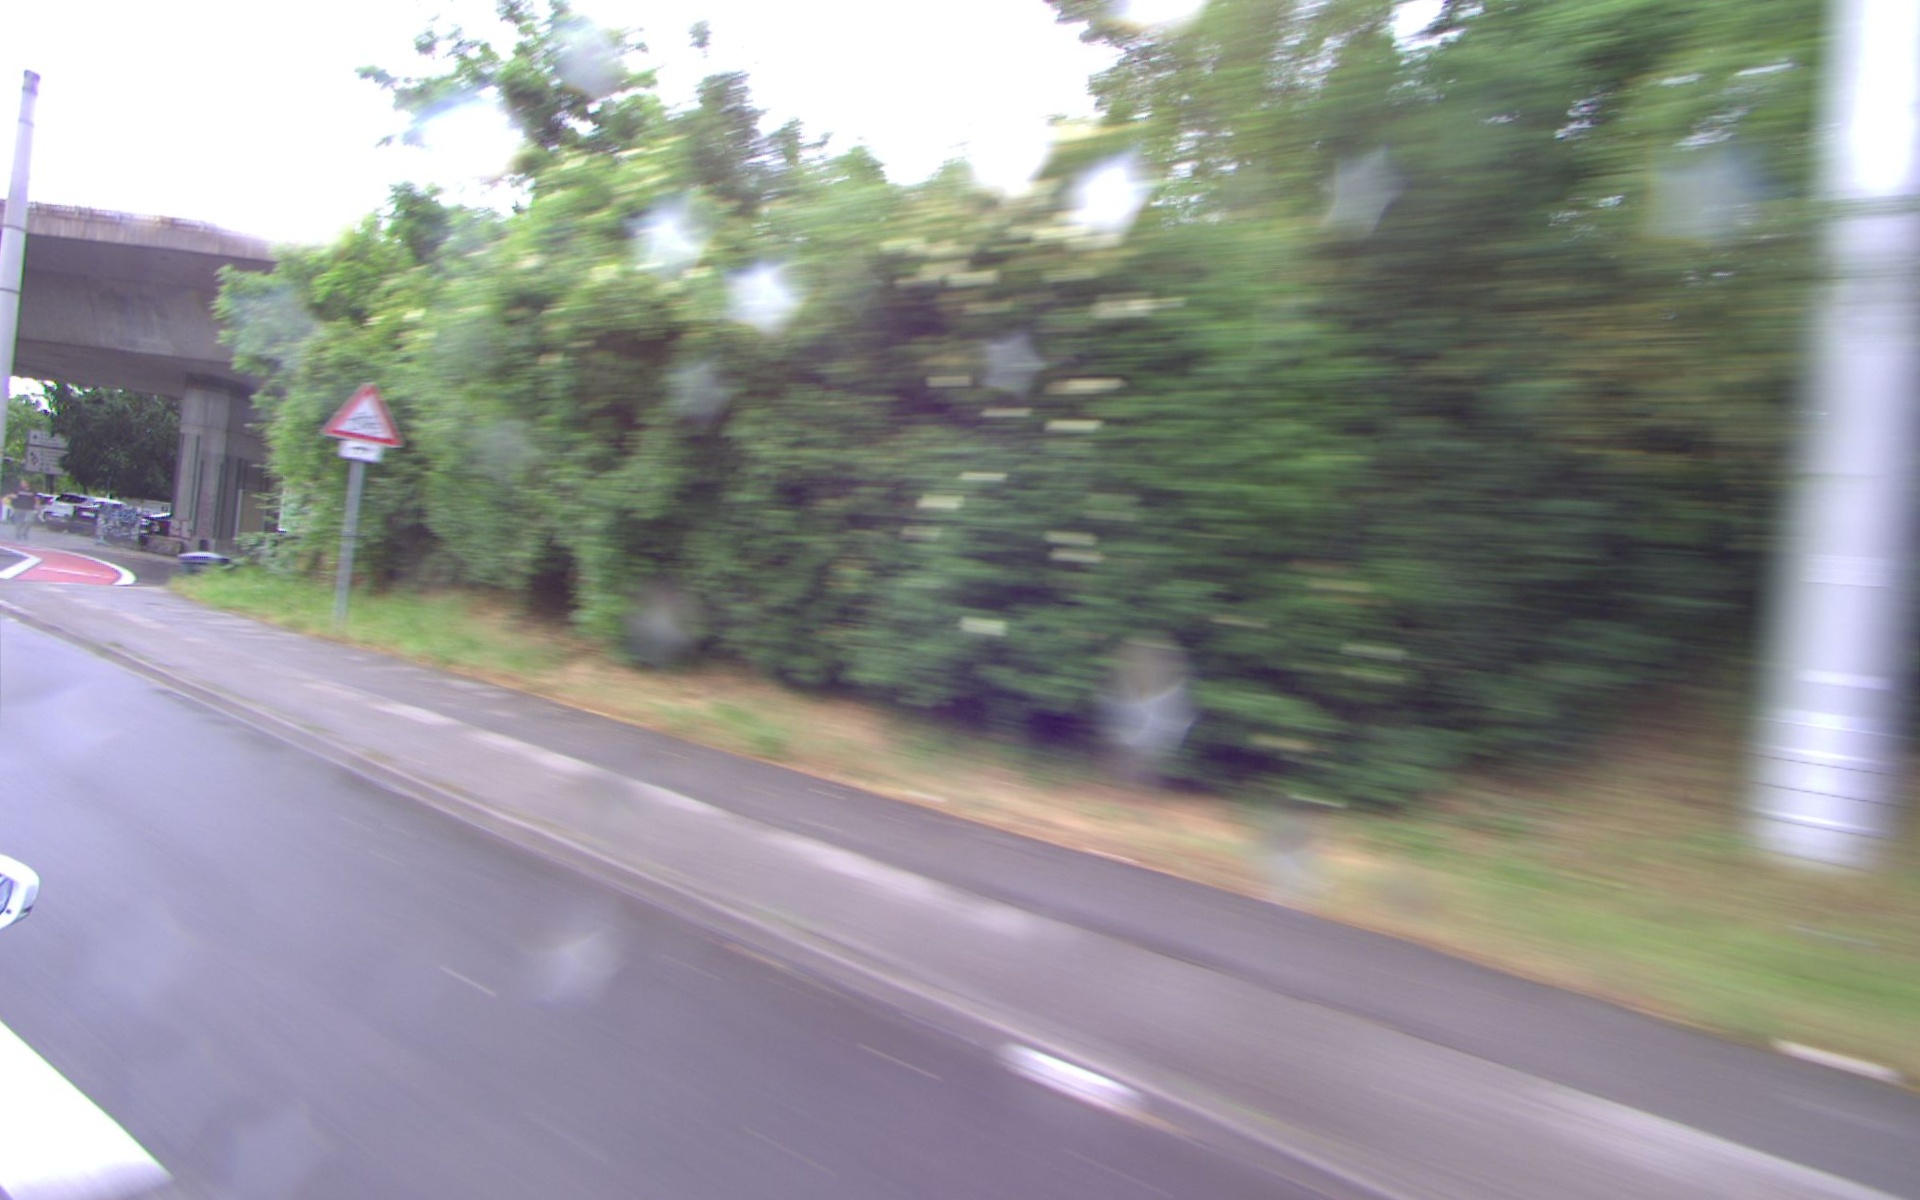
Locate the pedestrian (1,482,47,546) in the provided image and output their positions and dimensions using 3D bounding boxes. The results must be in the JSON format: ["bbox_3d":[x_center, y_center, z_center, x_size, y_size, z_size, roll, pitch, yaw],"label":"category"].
[{"bbox_3d":[-29.072,-2.666,31.249,0.894,1.842,0.599,6,-3,28],"label":"pedestrian"}]

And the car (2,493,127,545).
[{"bbox_3d":[-37.989,-3.387,42.786,1.769,1.539,3.739,7,-2,1],"label":"car"}]

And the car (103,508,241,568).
[{"bbox_3d":[-30.473,-2.357,39.056,1.869,1.588,4.007,7,-3,4],"label":"car"}]

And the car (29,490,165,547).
[{"bbox_3d":[-35.635,-3.332,41.698,1.930,1.649,4.027,7,-2,1],"label":"car"}]

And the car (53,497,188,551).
[{"bbox_3d":[-33.093,-2.952,39.818,1.754,1.456,4.053,8,-2,1],"label":"car"}]
